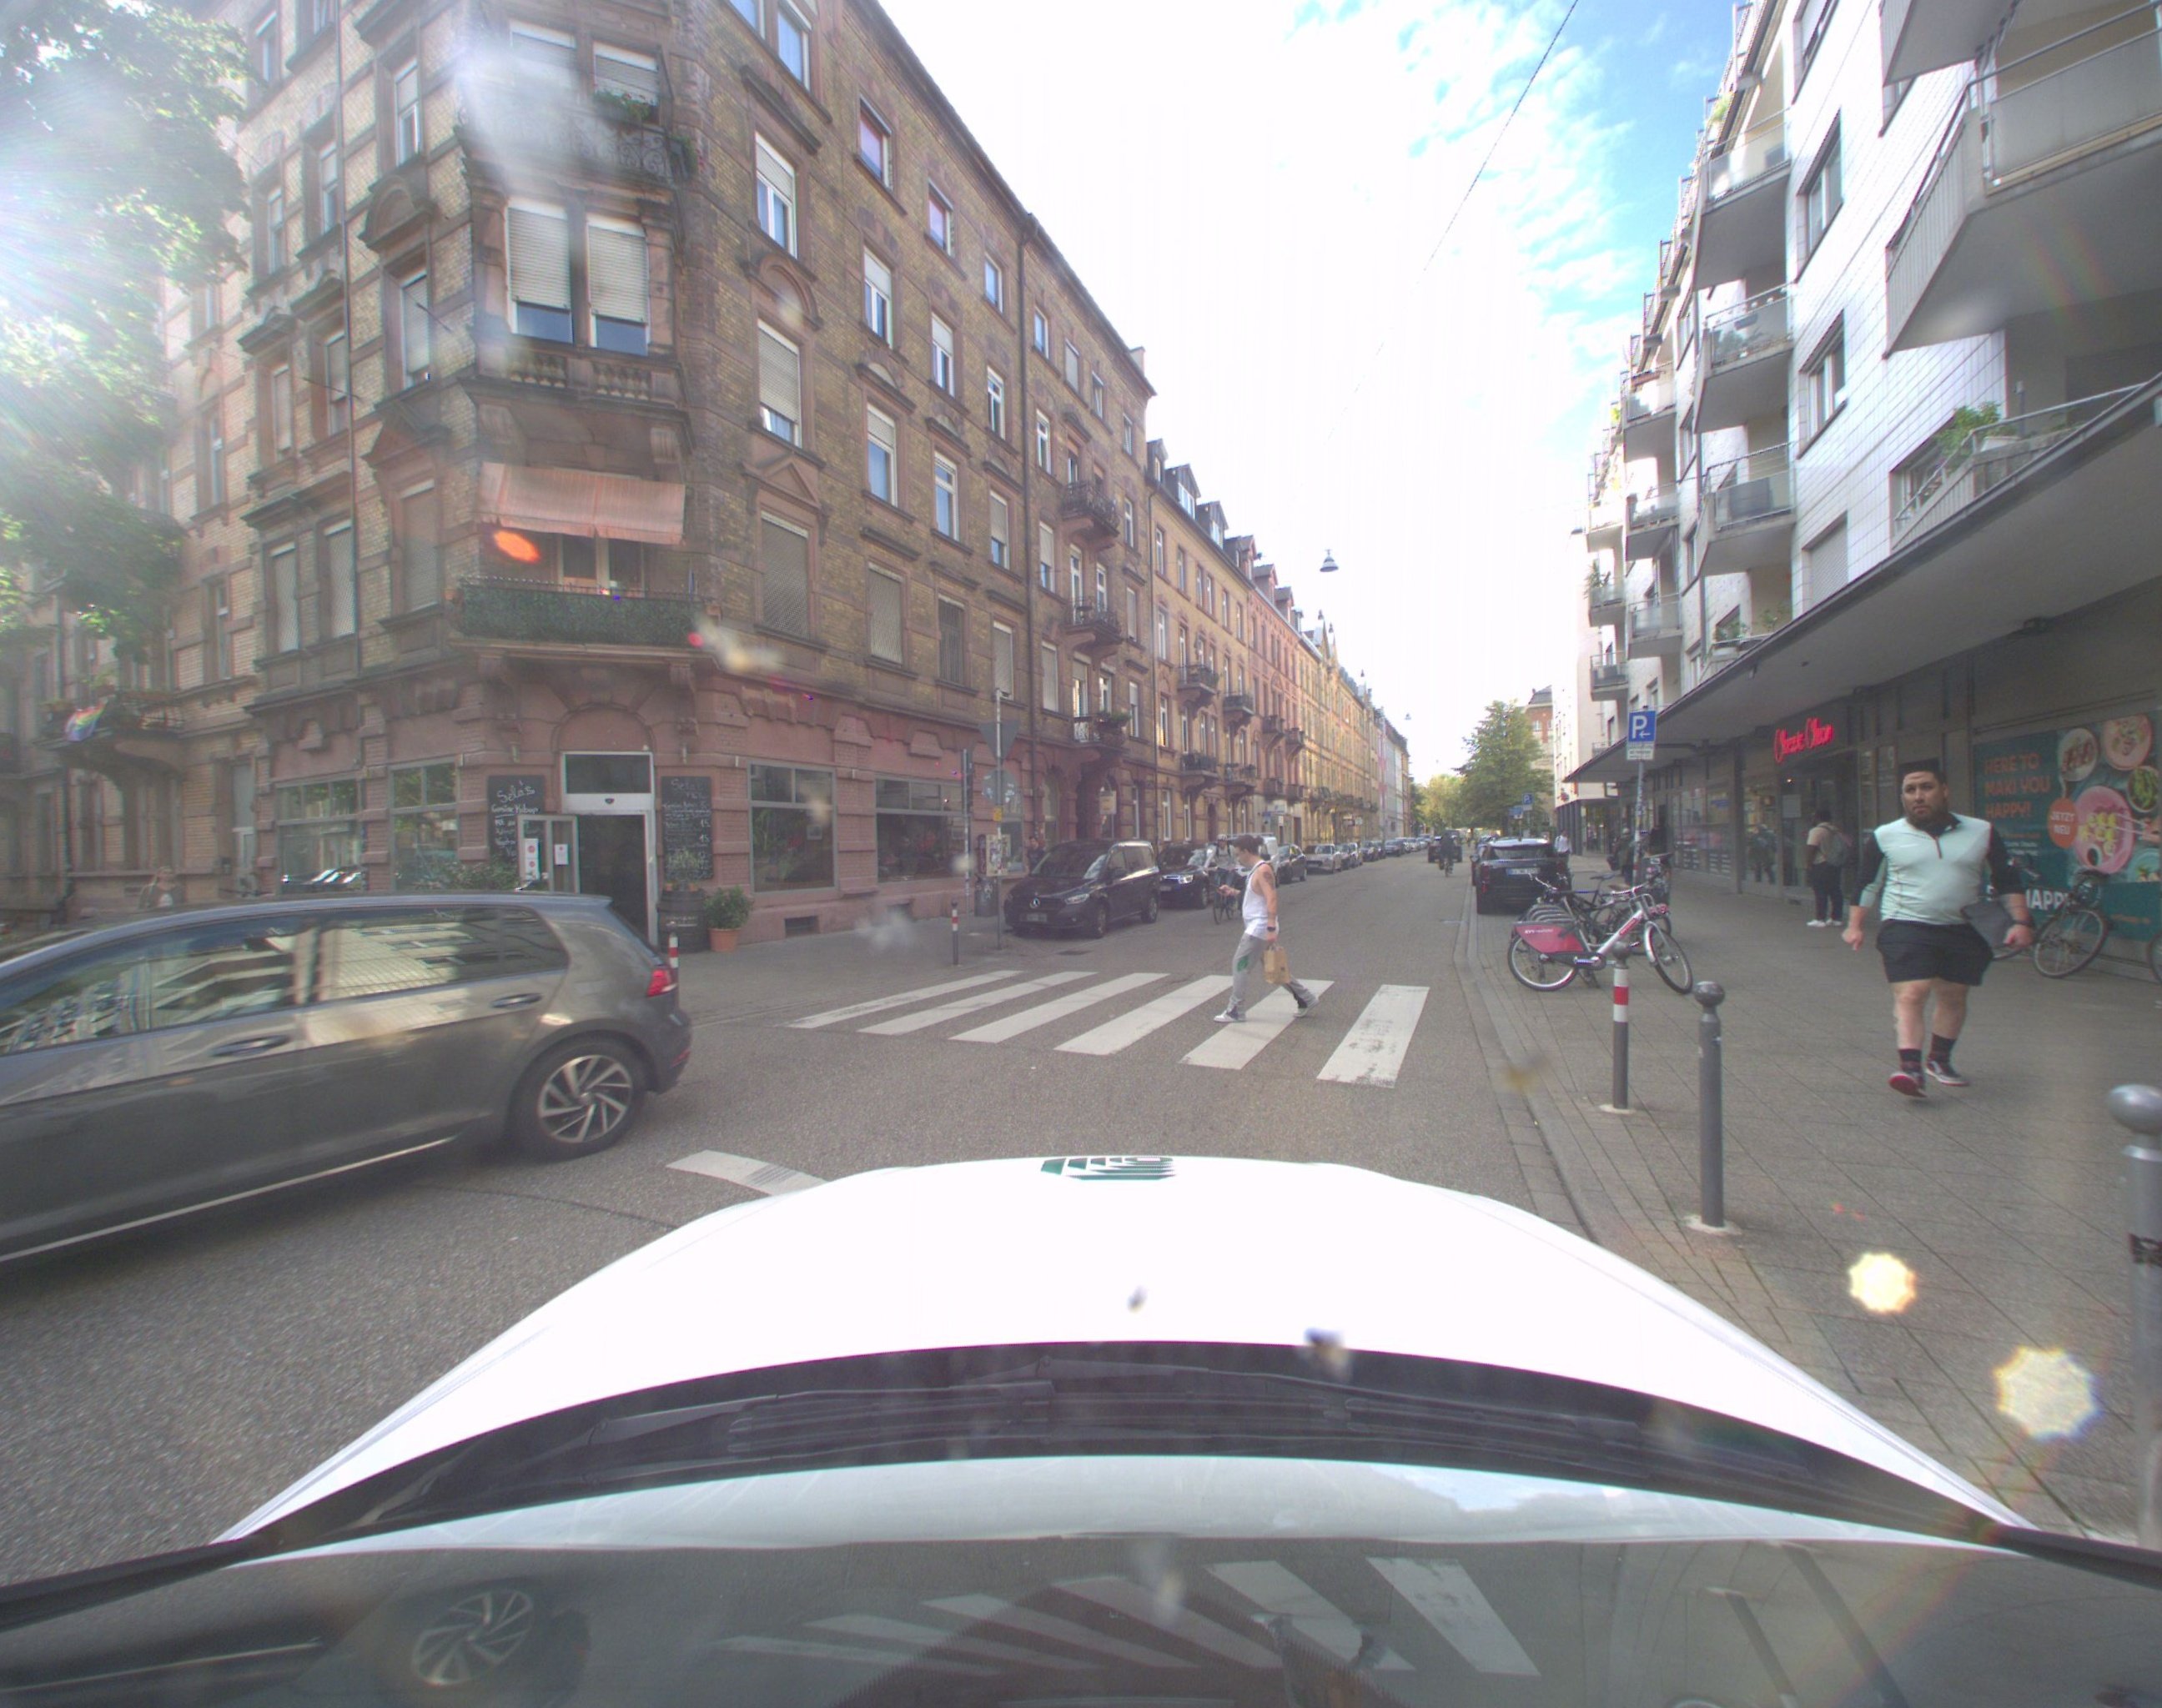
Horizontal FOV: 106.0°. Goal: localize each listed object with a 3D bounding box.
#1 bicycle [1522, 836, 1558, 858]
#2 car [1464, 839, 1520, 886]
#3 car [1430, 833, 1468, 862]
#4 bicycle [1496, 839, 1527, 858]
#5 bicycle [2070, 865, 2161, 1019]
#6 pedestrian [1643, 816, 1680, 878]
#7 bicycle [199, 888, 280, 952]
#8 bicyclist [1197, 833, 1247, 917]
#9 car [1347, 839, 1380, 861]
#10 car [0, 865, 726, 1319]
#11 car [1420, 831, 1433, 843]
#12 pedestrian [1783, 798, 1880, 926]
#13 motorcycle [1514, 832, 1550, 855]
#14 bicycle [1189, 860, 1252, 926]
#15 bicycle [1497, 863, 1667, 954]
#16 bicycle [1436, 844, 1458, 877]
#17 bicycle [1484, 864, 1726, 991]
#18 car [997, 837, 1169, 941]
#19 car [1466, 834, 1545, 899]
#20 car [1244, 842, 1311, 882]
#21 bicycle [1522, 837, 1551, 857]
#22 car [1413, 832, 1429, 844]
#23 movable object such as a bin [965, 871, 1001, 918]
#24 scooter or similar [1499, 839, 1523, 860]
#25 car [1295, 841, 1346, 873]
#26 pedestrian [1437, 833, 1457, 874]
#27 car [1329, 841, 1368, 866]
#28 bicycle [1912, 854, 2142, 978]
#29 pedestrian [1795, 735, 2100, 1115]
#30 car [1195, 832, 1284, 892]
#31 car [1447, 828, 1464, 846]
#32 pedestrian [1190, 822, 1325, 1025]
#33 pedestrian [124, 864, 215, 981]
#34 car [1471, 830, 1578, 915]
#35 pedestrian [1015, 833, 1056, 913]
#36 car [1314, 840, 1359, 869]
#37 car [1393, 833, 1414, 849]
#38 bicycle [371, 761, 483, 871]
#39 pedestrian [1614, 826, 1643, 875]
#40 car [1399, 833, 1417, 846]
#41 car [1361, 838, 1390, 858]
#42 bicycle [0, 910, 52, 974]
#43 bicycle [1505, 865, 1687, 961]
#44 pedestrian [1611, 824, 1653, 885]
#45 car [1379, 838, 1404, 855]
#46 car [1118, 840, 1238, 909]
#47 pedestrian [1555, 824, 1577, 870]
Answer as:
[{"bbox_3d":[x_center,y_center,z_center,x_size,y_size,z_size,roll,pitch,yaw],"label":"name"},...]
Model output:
[{"bbox_3d":[27.117,-0.430,48.116,1.749,1.162,0.654,-4,0,28],"label":"bicycle"},{"bbox_3d":[14.344,0.246,28.382,1.580,1.439,4.055,-2,0,27],"label":"car"},{"bbox_3d":[22.705,-0.417,50.130,1.946,1.740,4.065,-1,1,27],"label":"car"},{"bbox_3d":[28.602,-0.378,54.097,1.777,1.159,0.503,-4,0,29],"label":"bicycle"},{"bbox_3d":[7.767,0.610,5.290,0.672,1.043,1.737,-2,-1,7],"label":"bicycle"},{"bbox_3d":[17.868,-0.212,25.063,0.647,1.860,0.702,-2,0,-35],"label":"pedestrian"},{"bbox_3d":[-15.466,1.187,14.960,1.761,1.067,0.531,0,0,27],"label":"bicycle"},{"bbox_3d":[2.982,0.425,17.127,0.694,1.677,1.119,-3,0,25],"label":"bicyclist"},{"bbox_3d":[19.673,-0.303,56.654,1.674,1.386,3.890,0,1,26],"label":"car"},{"bbox_3d":[-4.040,0.869,3.731,1.774,1.438,4.026,-3,-1,36],"label":"car"},{"bbox_3d":[51.858,-2.502,122.199,1.674,1.821,3.890,0,1,26],"label":"car"},{"bbox_3d":[10.730,0.111,11.678,0.707,1.747,0.822,-4,0,24],"label":"pedestrian"},{"bbox_3d":[32.734,-0.752,59.124,2.129,1.530,0.690,-4,0,31],"label":"motorcycle"},{"bbox_3d":[2.942,0.786,17.004,0.694,1.220,2.129,-3,0,25],"label":"bicycle"},{"bbox_3d":[6.535,0.721,10.711,1.774,1.070,0.589,-4,0,16],"label":"bicycle"},{"bbox_3d":[14.865,0.229,33.058,0.711,1.274,1.895,0,1,27],"label":"bicycle"},{"bbox_3d":[5.144,0.736,8.177,1.865,1.125,0.913,-4,-1,24],"label":"bicycle"},{"bbox_3d":[0.206,0.562,16.439,1.744,1.773,4.432,1,1,25],"label":"car"},{"bbox_3d":[11.402,0.286,22.088,1.673,1.577,3.925,-2,0,25],"label":"car"},{"bbox_3d":[7.851,0.271,32.293,1.725,1.483,4.007,0,0,26],"label":"car"},{"bbox_3d":[27.851,-0.415,49.809,1.481,1.146,0.414,-4,0,26],"label":"bicycle"},{"bbox_3d":[44.798,-2.060,107.301,1.674,1.550,3.890,0,1,26],"label":"car"},{"bbox_3d":[-1.577,0.645,13.110,0.379,0.714,0.478,0,1,22],"label":"movable object such as a bin"},{"bbox_3d":[25.661,-0.267,48.606,0.380,1.147,1.197,-5,0,-32],"label":"scooter or similar"},{"bbox_3d":[12.002,0.127,40.662,1.725,1.483,4.007,0,1,26],"label":"car"},{"bbox_3d":[14.911,-0.045,33.158,0.711,1.650,0.936,0,1,27],"label":"pedestrian"},{"bbox_3d":[16.193,-0.060,49.207,1.674,1.386,3.890,0,1,26],"label":"car"},{"bbox_3d":[9.019,0.551,7.881,0.734,1.015,1.793,-4,-1,25],"label":"bicycle"},{"bbox_3d":[4.784,0.351,4.616,0.875,1.834,1.054,-4,-1,34],"label":"pedestrian"},{"bbox_3d":[5.481,0.200,27.672,1.902,1.871,4.463,-1,1,25],"label":"car"},{"bbox_3d":[43.822,-2.012,95.264,1.766,2.019,3.911,0,1,25],"label":"car"},{"bbox_3d":[1.589,0.584,7.260,1.010,1.671,0.808,-2,-1,21],"label":"pedestrian"},{"bbox_3d":[-13.102,0.956,11.710,0.799,1.577,0.619,0,4,31],"label":"pedestrian"},{"bbox_3d":[9.736,0.330,18.053,1.775,1.605,3.948,-4,0,27],"label":"car"},{"bbox_3d":[-1.082,0.418,19.326,0.671,1.840,0.862,1,2,20],"label":"pedestrian"},{"bbox_3d":[14.166,-0.002,45.048,1.725,1.483,4.007,0,1,26],"label":"car"},{"bbox_3d":[32.835,-1.342,82.949,1.674,1.550,3.890,0,1,27],"label":"car"},{"bbox_3d":[-9.759,-0.524,12.124,2.137,1.521,0.560,-2,0,31],"label":"bicycle"},{"bbox_3d":[18.230,-0.120,27.129,0.638,1.588,0.785,-4,-1,28],"label":"pedestrian"},{"bbox_3d":[37.761,-1.664,93.919,1.674,1.550,3.890,0,1,26],"label":"car"},{"bbox_3d":[22.608,-0.477,62.472,1.674,1.437,3.890,0,1,26],"label":"car"},{"bbox_3d":[-18.210,1.451,13.618,2.052,0.968,0.594,-2,2,20],"label":"bicycle"},{"bbox_3d":[6.343,0.732,10.122,1.774,1.070,0.571,-4,0,16],"label":"bicycle"},{"bbox_3d":[14.788,0.019,21.872,0.816,1.588,0.785,-2,0,28],"label":"pedestrian"},{"bbox_3d":[27.323,-0.714,71.640,1.675,1.369,3.890,3,3,26],"label":"car"},{"bbox_3d":[2.728,0.470,21.950,1.975,1.638,4.170,0,1,25],"label":"car"},{"bbox_3d":[18.448,-0.274,30.985,0.606,1.726,1.133,-2,1,27],"label":"pedestrian"}]
